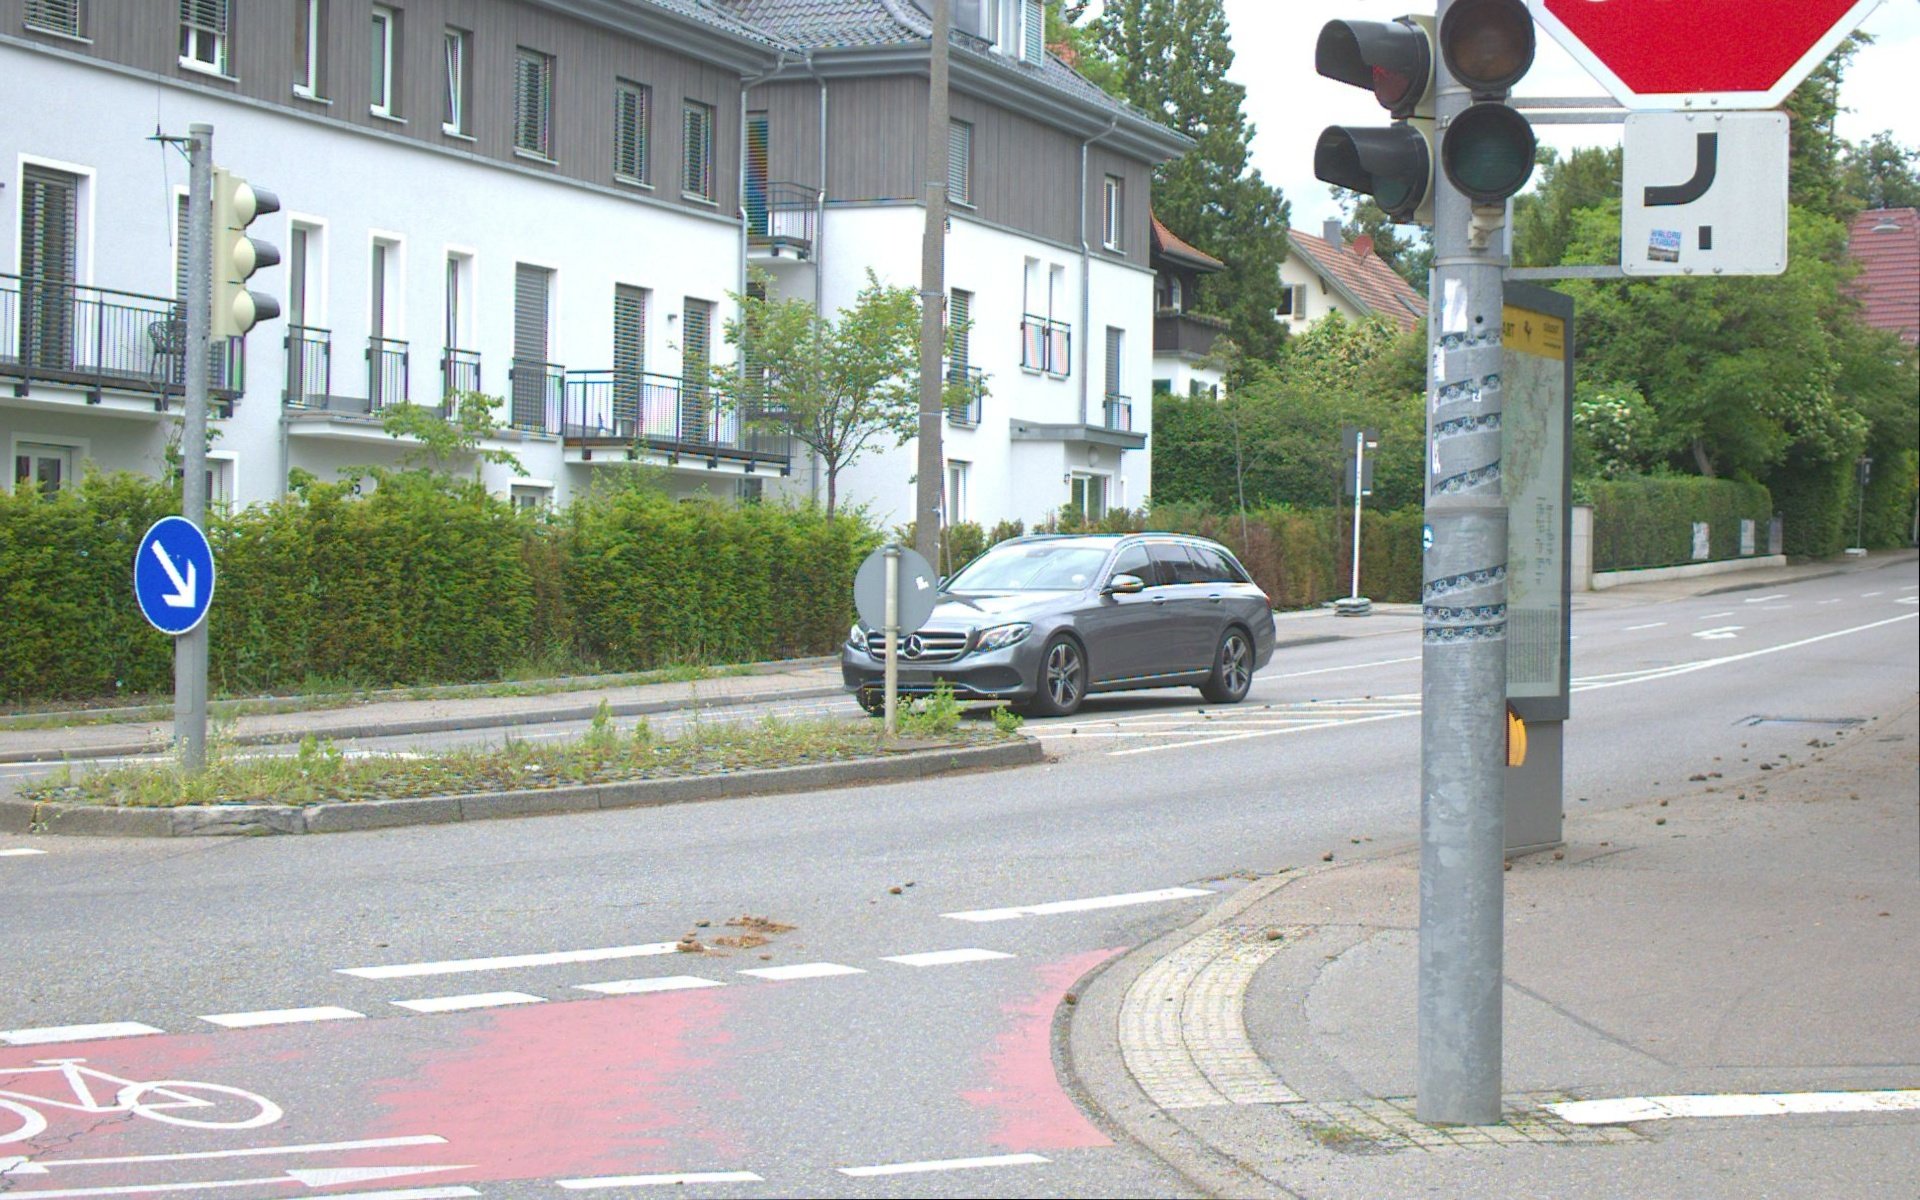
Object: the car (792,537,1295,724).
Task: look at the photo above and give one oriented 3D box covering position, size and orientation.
[{"bbox_3d":[0.800,0.188,28.787,1.942,1.399,4.733,1,2,34],"label":"car"}]
